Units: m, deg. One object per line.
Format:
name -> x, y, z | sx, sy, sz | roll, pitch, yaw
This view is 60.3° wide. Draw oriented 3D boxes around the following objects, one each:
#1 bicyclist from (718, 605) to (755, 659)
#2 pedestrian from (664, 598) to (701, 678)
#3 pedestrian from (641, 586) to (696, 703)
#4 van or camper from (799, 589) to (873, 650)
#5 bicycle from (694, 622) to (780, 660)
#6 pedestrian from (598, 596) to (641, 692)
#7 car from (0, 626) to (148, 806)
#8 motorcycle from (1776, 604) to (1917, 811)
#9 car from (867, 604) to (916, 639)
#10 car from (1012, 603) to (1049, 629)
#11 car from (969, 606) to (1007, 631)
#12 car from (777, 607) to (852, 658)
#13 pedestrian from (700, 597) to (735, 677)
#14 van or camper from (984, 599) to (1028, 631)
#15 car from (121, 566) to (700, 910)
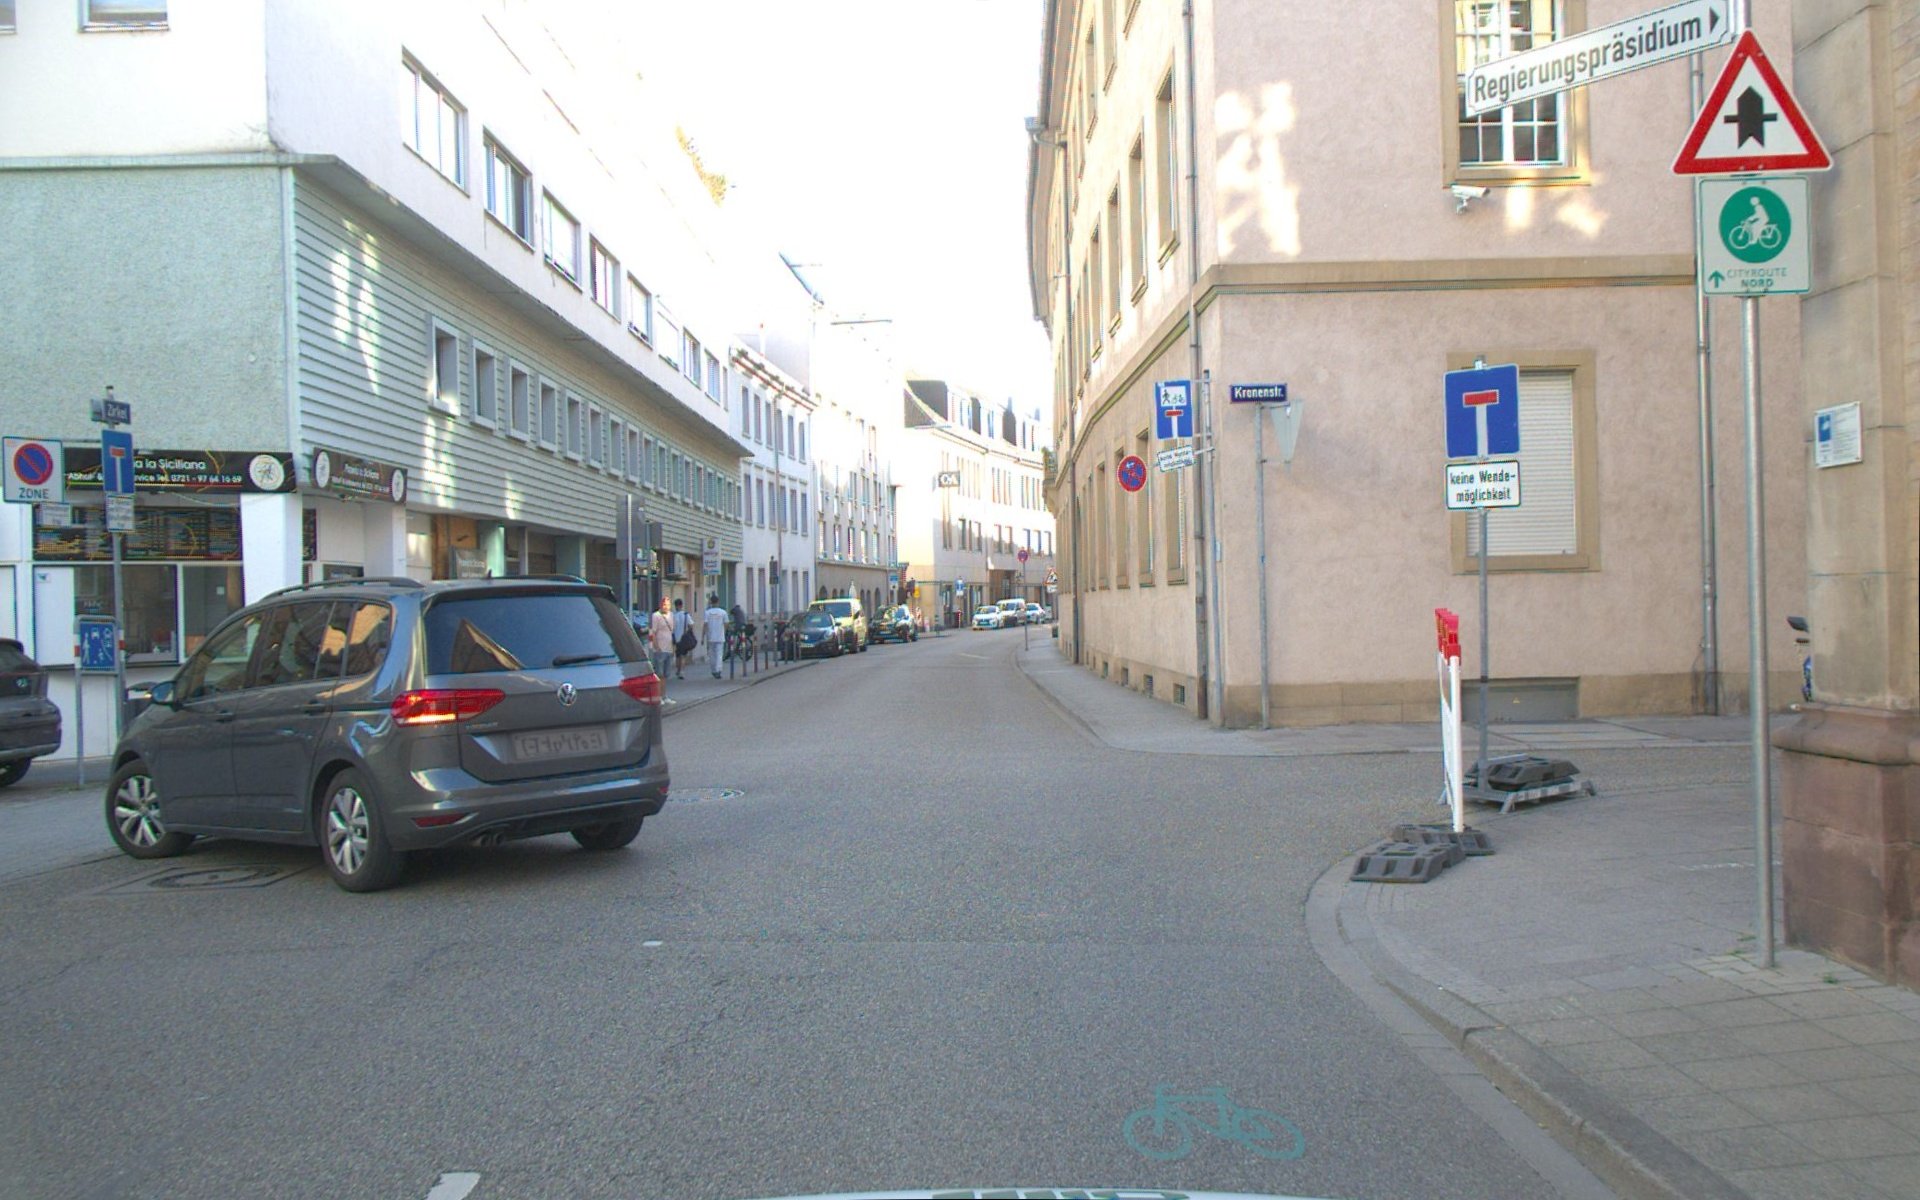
bicyclist -> -6.707, 0.953, 49.651 | 0.742, 1.589, 0.833 | -1, 0, 24
pedestrian -> -6.005, 0.822, 35.851 | 0.697, 1.714, 0.480 | -1, 0, -1
pedestrian -> -4.703, 0.710, 26.694 | 0.544, 1.861, 0.731 | -1, 0, 22
van or camper -> -4.368, 0.670, 58.941 | 1.951, 2.049, 4.485 | -1, 0, 4
bicycle -> -6.700, 1.235, 49.637 | 2.490, 1.073, 0.833 | -1, 0, 24
pedestrian -> -6.733, 0.863, 32.751 | 0.714, 1.861, 0.557 | -1, 0, -2
car -> -9.852, 1.059, 14.946 | 4.014, 1.468, 1.947 | -2, 0, 0
motorcycle -> 6.084, 0.673, 11.295 | 0.657, 1.266, 2.185 | -2, -1, 33
car -> -3.083, 0.960, 75.170 | 1.826, 1.494, 3.835 | -1, 0, 3
car -> 5.049, 1.156, 117.737 | 1.787, 1.756, 4.003 | -1, 0, 15
car -> 1.811, 1.158, 105.599 | 1.697, 1.493, 4.003 | -1, 0, 12
car -> -4.637, 1.019, 53.193 | 1.826, 1.494, 3.835 | -1, 0, 3
pedestrian -> -5.276, 0.801, 35.993 | 0.649, 1.714, 0.480 | -1, 0, -1
van or camper -> 3.138, 0.989, 111.381 | 1.951, 2.049, 5.002 | -1, 0, 14
car -> -3.420, 0.665, 9.888 | 1.755, 1.635, 3.934 | 0, 0, -45
